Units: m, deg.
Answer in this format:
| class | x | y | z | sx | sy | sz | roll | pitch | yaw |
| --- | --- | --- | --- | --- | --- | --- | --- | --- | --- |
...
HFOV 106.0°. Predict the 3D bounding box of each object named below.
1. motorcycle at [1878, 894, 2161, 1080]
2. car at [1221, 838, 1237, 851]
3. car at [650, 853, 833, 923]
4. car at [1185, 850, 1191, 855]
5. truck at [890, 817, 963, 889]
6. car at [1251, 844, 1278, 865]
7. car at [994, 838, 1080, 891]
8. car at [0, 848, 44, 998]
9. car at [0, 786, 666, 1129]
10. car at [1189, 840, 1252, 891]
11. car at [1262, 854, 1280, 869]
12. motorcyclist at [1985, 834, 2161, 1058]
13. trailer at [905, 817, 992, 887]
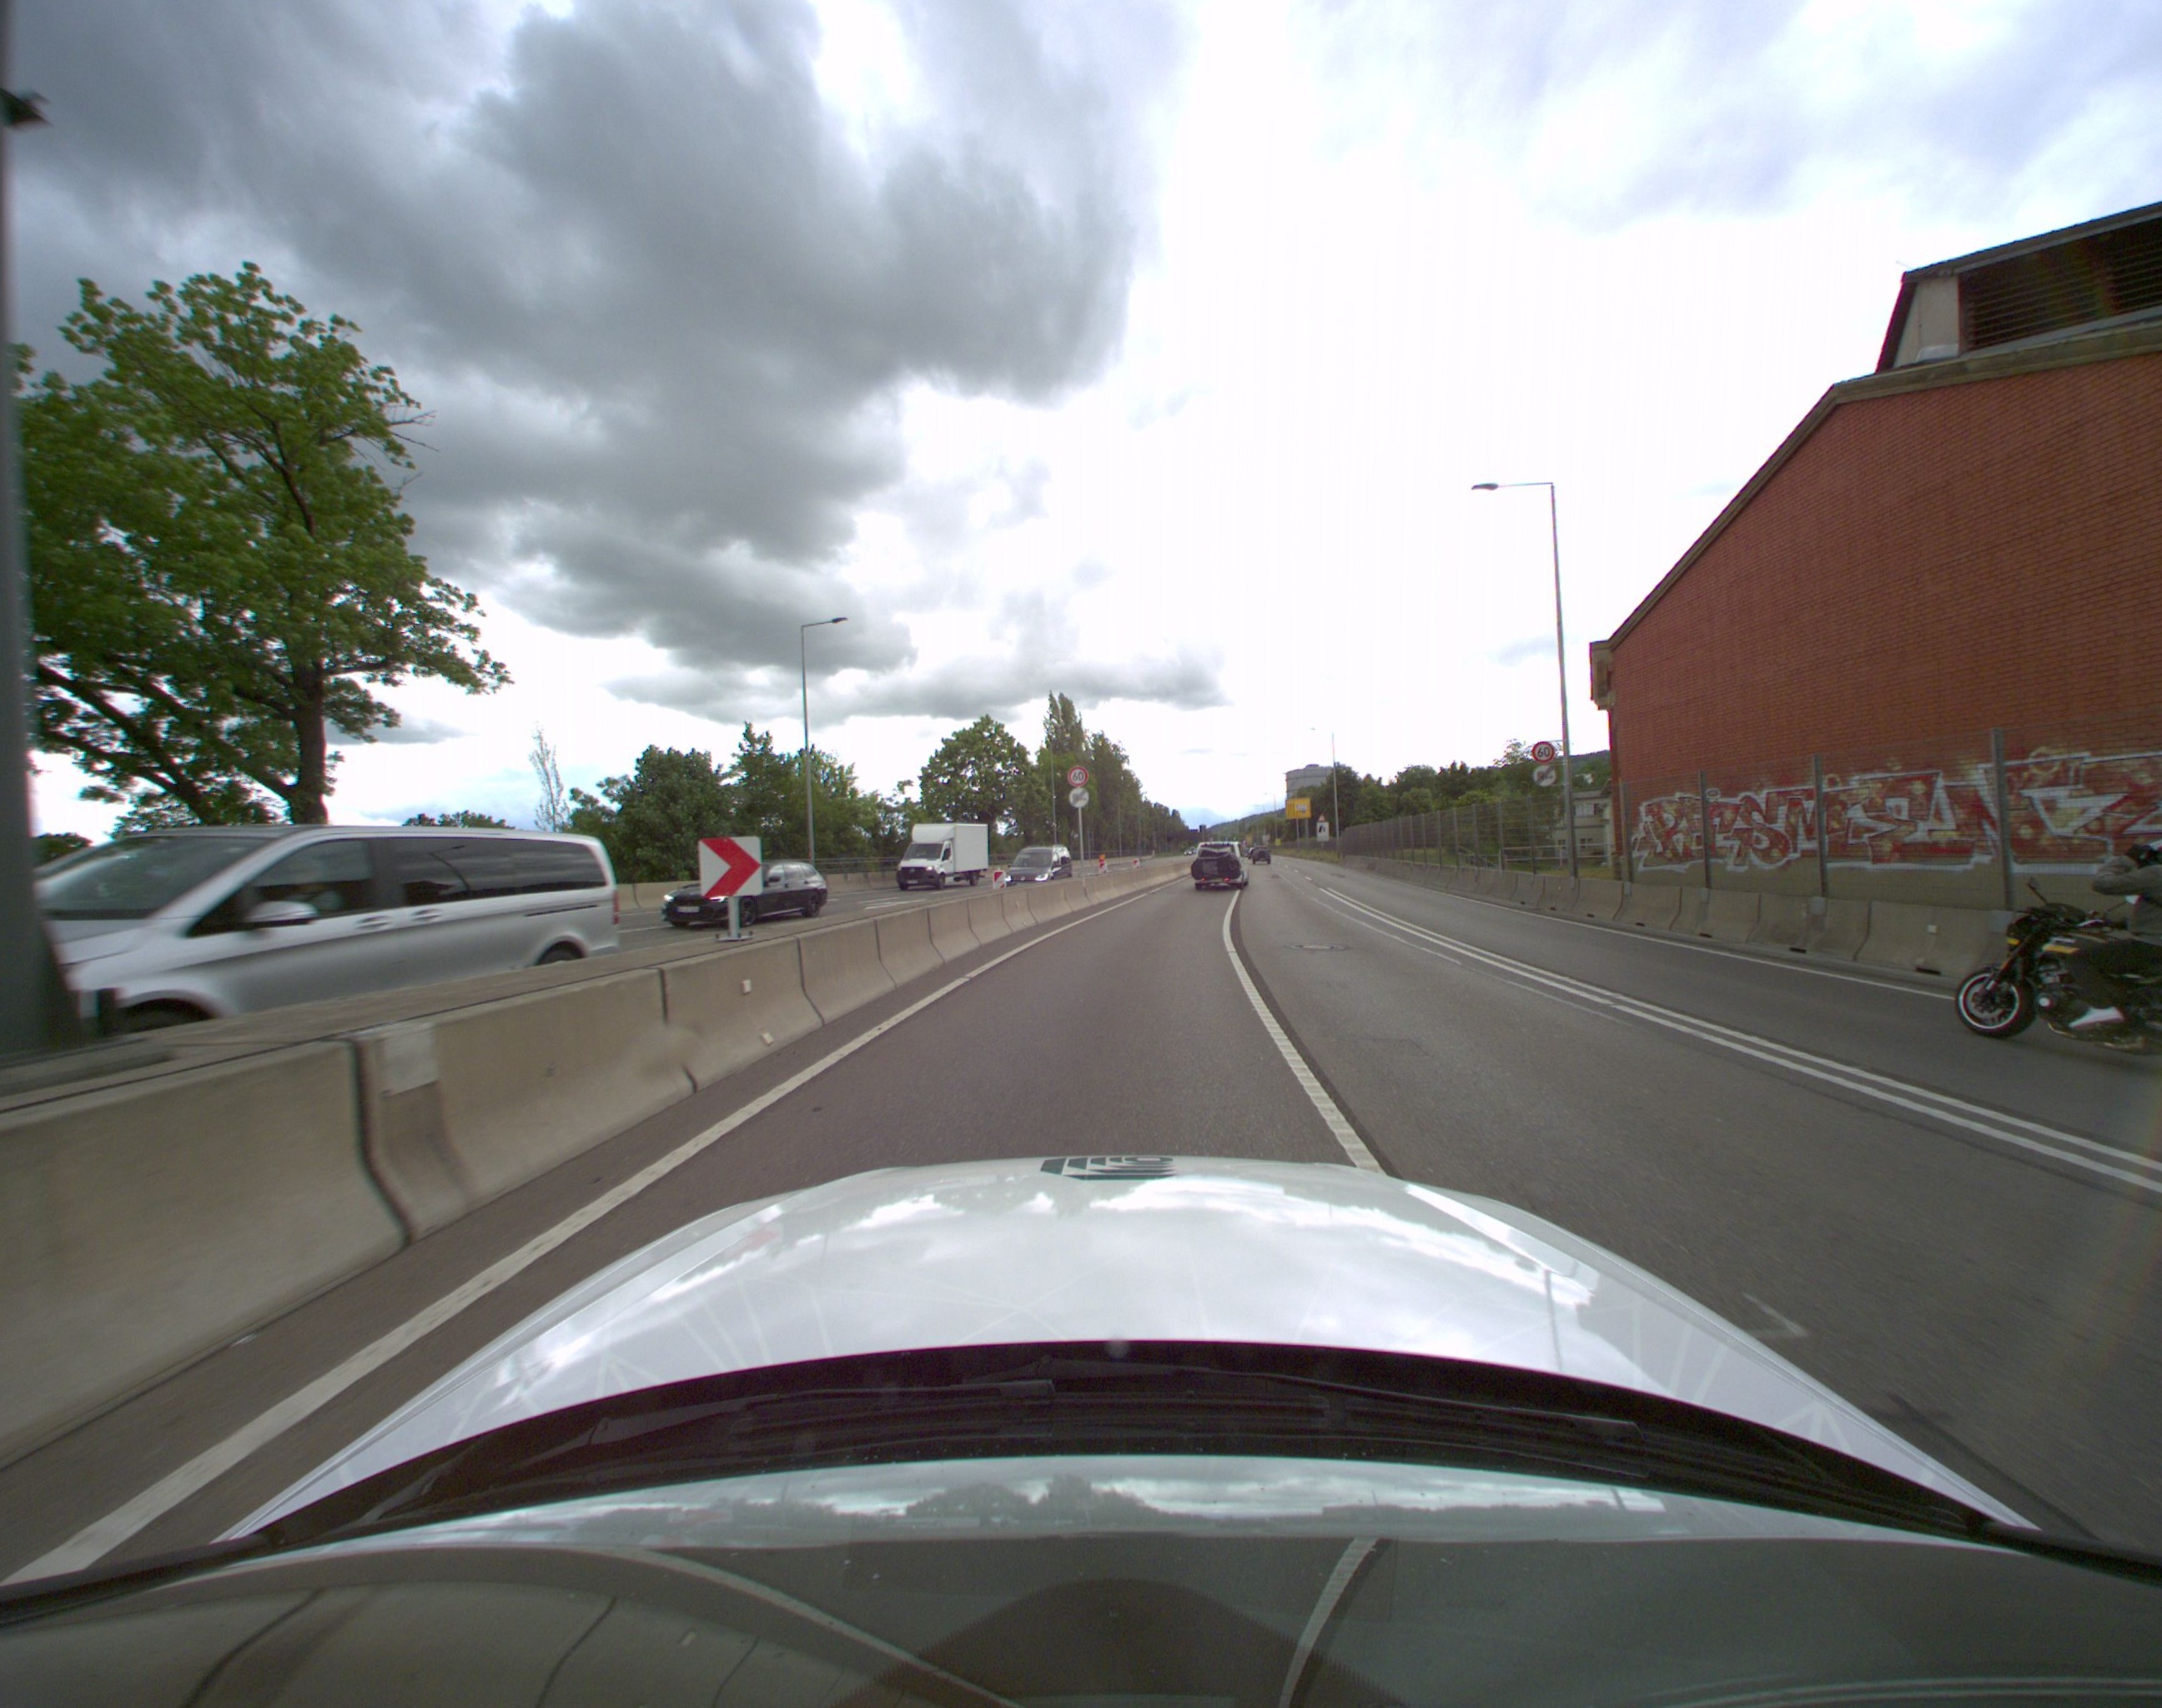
| class | x | y | z | sx | sy | sz | roll | pitch | yaw |
| --- | --- | --- | --- | --- | --- | --- | --- | --- | --- |
| motorcycle | 7.552 | 0.921 | 6.155 | 0.739 | 1.083 | 2.671 | -2 | 0 | 9 |
| car | 19.347 | -1.243 | 106.238 | 1.981 | 1.673 | 4.011 | -1 | -1 | 10 |
| car | -7.849 | 0.737 | 19.390 | 1.852 | 1.453 | 4.583 | -1 | -1 | 9 |
| car | 28.783 | -0.410 | 219.017 | 1.723 | 1.374 | 3.624 | -2 | 0 | 7 |
| truck | -6.926 | -0.043 | 36.783 | 2.258 | 3.114 | 2.997 | -1 | 0 | 11 |
| car | 17.219 | 0.042 | 76.510 | 1.983 | 1.860 | 4.008 | -2 | -1 | 7 |
| car | -1.574 | 0.363 | 31.101 | 1.888 | 1.805 | 4.973 | -2 | 0 | 13 |
| car | -13.357 | 0.771 | 7.226 | 1.982 | 1.672 | 4.740 | -1 | 0 | 9 |
| car | -6.272 | 0.562 | 6.792 | 1.940 | 1.807 | 5.807 | -1 | 0 | 9 |
| car | 5.723 | 0.380 | 32.784 | 1.978 | 1.859 | 5.664 | 0 | 1 | 15 |
| car | 24.898 | 1.002 | 106.781 | 1.982 | 1.904 | 4.009 | -2 | -1 | 8 |
| motorcyclist | 7.521 | 0.608 | 5.872 | 0.907 | 1.477 | 0.969 | -2 | 0 | 8 |
| trailer | -6.314 | -0.081 | 39.724 | 2.257 | 3.138 | 5.730 | -1 | 0 | 12 |
